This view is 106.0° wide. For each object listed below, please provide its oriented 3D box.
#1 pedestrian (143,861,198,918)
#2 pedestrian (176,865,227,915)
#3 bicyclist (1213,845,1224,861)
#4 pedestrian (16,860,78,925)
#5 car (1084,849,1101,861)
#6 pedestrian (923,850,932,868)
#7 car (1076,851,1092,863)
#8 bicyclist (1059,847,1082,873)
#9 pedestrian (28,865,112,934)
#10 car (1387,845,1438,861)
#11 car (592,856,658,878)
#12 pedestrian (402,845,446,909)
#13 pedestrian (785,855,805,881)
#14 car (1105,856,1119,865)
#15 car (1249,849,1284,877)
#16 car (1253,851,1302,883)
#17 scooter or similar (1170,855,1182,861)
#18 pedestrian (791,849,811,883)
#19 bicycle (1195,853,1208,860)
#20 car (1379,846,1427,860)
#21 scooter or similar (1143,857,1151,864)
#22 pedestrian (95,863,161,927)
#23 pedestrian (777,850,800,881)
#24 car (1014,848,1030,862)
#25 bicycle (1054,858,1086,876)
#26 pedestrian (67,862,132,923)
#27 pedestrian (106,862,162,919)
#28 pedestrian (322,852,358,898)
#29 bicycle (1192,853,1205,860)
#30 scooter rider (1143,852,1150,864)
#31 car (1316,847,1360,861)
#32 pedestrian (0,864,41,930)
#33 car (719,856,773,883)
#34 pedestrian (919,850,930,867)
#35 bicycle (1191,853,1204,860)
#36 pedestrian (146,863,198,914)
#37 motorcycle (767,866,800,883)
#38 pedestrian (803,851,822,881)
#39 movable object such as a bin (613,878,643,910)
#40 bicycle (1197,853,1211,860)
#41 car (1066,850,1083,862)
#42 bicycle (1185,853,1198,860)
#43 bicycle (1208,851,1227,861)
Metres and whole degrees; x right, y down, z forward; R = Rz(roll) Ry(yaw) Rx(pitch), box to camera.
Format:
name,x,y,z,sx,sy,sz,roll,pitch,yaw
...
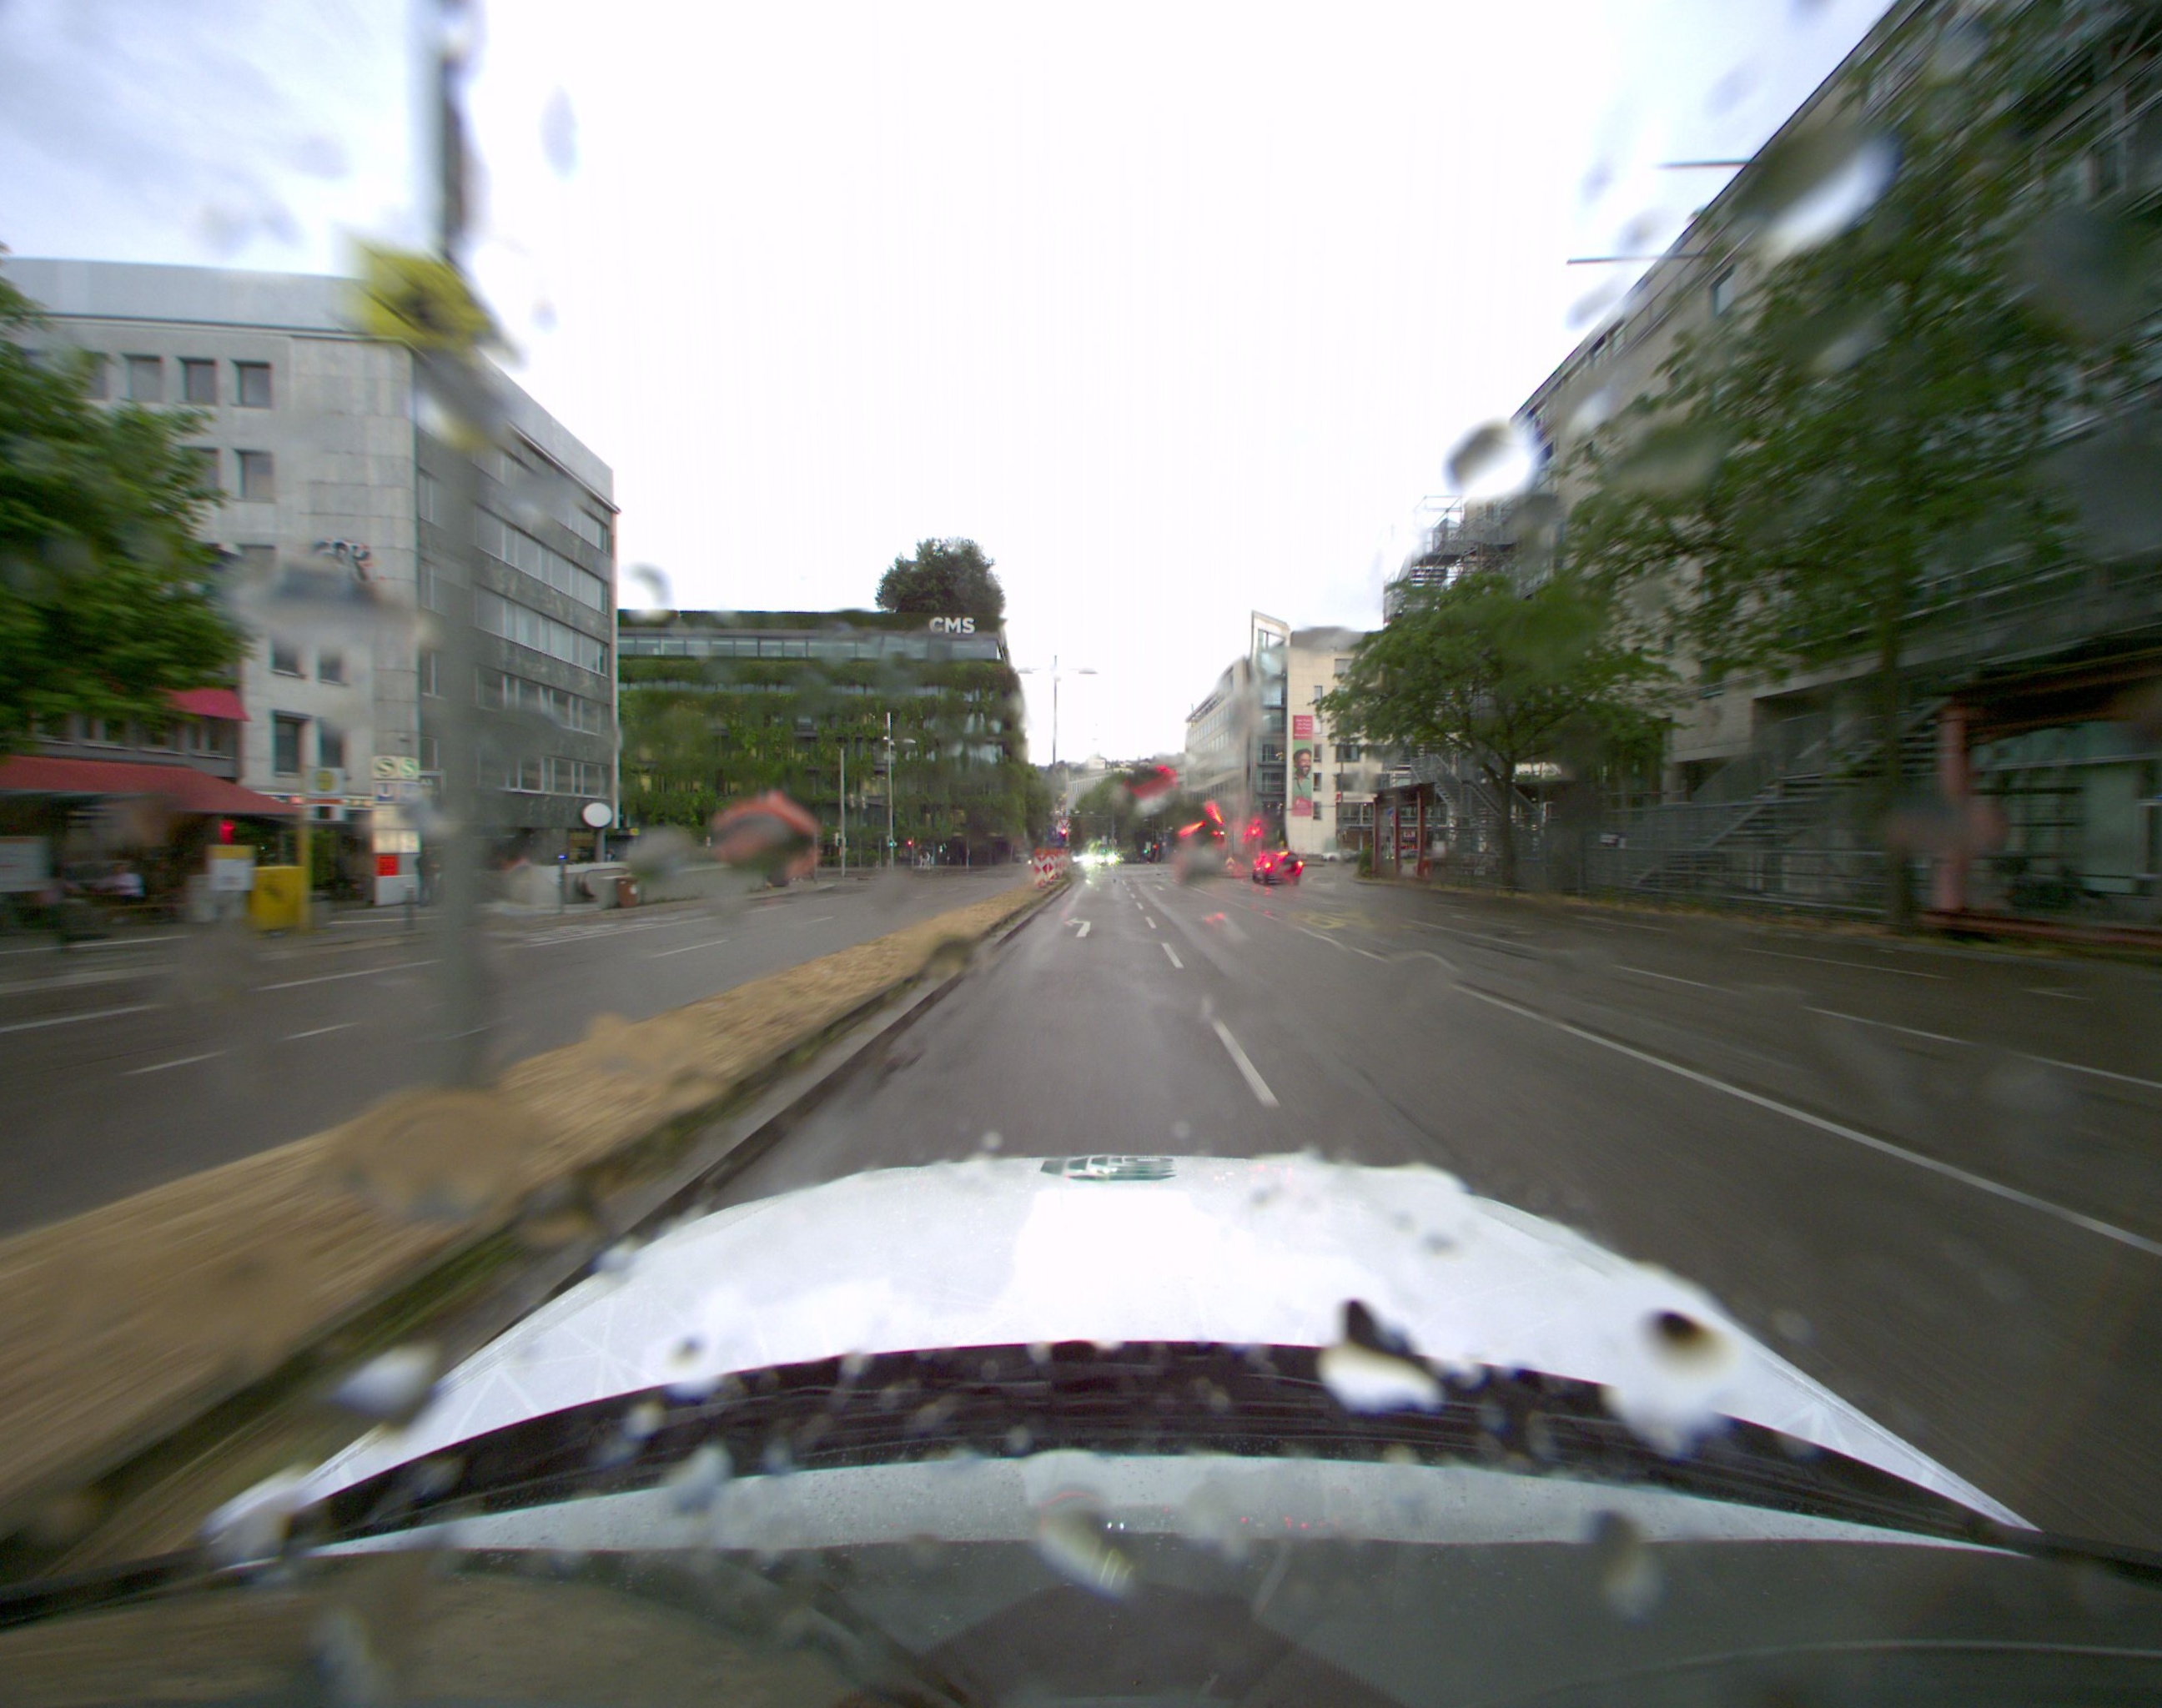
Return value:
name,x,y,z,sx,sy,sz,roll,pitch,yaw
pedestrian,-23.795,0.914,21.289,0.632,1.450,0.690,0,0,-5
pedestrian,-23.919,0.969,22.151,0.632,1.344,0.690,0,0,-5
bicyclist,16.405,-0.127,97.099,0.798,1.975,1.101,-1,0,-39
pedestrian,-23.945,0.881,18.868,0.687,1.450,0.583,0,0,-1
car,1.390,0.119,102.894,1.987,1.550,4.554,-1,0,-1
pedestrian,-15.797,0.520,83.994,0.744,1.758,0.969,-1,0,-22
car,0.411,0.410,125.135,2.171,1.823,4.637,-1,0,-4
bicyclist,-0.693,0.376,54.639,0.837,1.704,1.307,-1,0,44
pedestrian,-22.200,0.989,17.905,0.687,1.450,0.913,0,0,-3
car,32.777,-0.076,80.469,4.452,1.464,1.716,-1,0,-11
car,-34.141,0.979,61.107,3.893,1.523,1.864,-1,0,-11
pedestrian,-19.508,0.670,24.185,0.687,1.885,0.758,0,0,-3
pedestrian,-18.709,0.922,53.236,0.828,1.585,0.923,-5,0,1
car,5.141,1.085,135.626,1.988,1.443,4.554,-1,1,-1
car,11.095,0.501,48.434,1.690,1.529,4.446,-1,0,17
car,9.912,0.624,41.347,1.770,1.540,4.151,-1,0,4
scooter or similar,14.552,0.660,124.148,1.750,0.878,0.486,-1,0,-18
pedestrian,-16.366,0.695,47.637,0.804,1.885,0.865,-5,0,-5
bicycle,16.402,0.348,110.705,1.778,0.934,0.478,-1,0,43
car,32.984,-0.135,83.505,4.455,1.348,1.715,-1,0,-13
scooter or similar,9.262,0.938,115.037,0.557,1.007,1.814,-1,0,-15
pedestrian,-22.254,0.954,19.033,0.687,1.450,0.707,0,0,-3
pedestrian,-18.543,0.715,51.691,1.019,1.854,0.876,-5,0,-3
car,-8.204,0.120,113.087,1.988,1.895,4.461,-1,0,-2
bicycle,-0.709,0.865,54.594,0.837,1.103,2.165,-1,0,44
pedestrian,-23.997,0.917,19.914,0.725,1.450,0.690,0,0,-5
pedestrian,-24.692,0.932,21.237,0.632,1.450,0.690,0,0,-5
pedestrian,-23.628,0.653,25.988,0.601,1.450,0.587,0,0,-4
bicycle,15.677,0.319,108.369,1.778,0.934,0.478,-1,0,43
scooter rider,9.256,0.549,115.012,0.763,1.774,0.792,-1,0,-15
car,29.396,0.001,93.098,4.455,1.598,1.991,-1,0,-13
pedestrian,-23.989,0.953,18.225,0.687,1.450,0.547,0,0,-3
car,-25.735,1.175,62.625,3.450,1.922,1.992,-1,0,-11
pedestrian,-16.098,0.464,83.734,0.939,1.758,1.163,-1,0,-22
bicycle,16.472,0.351,115.035,1.786,0.934,0.476,-1,0,4
pedestrian,-24.710,0.933,22.142,0.632,1.356,0.690,0,0,-5
motorcycle,-22.108,1.492,60.591,2.231,1.210,0.844,-1,0,-15
pedestrian,-17.590,0.762,53.391,0.781,1.885,0.898,-5,0,2
movable object such as a bin,-13.513,1.183,24.282,0.531,0.897,0.680,-2,0,-8
bicycle,16.468,0.304,108.991,1.778,0.934,0.478,-1,0,43
car,-0.895,0.276,108.945,1.853,1.448,4.614,-1,1,-4
bicycle,15.908,0.365,116.900,1.786,0.934,0.476,-1,0,4
bicycle,16.270,0.219,97.261,0.798,1.117,2.229,-1,0,-39
